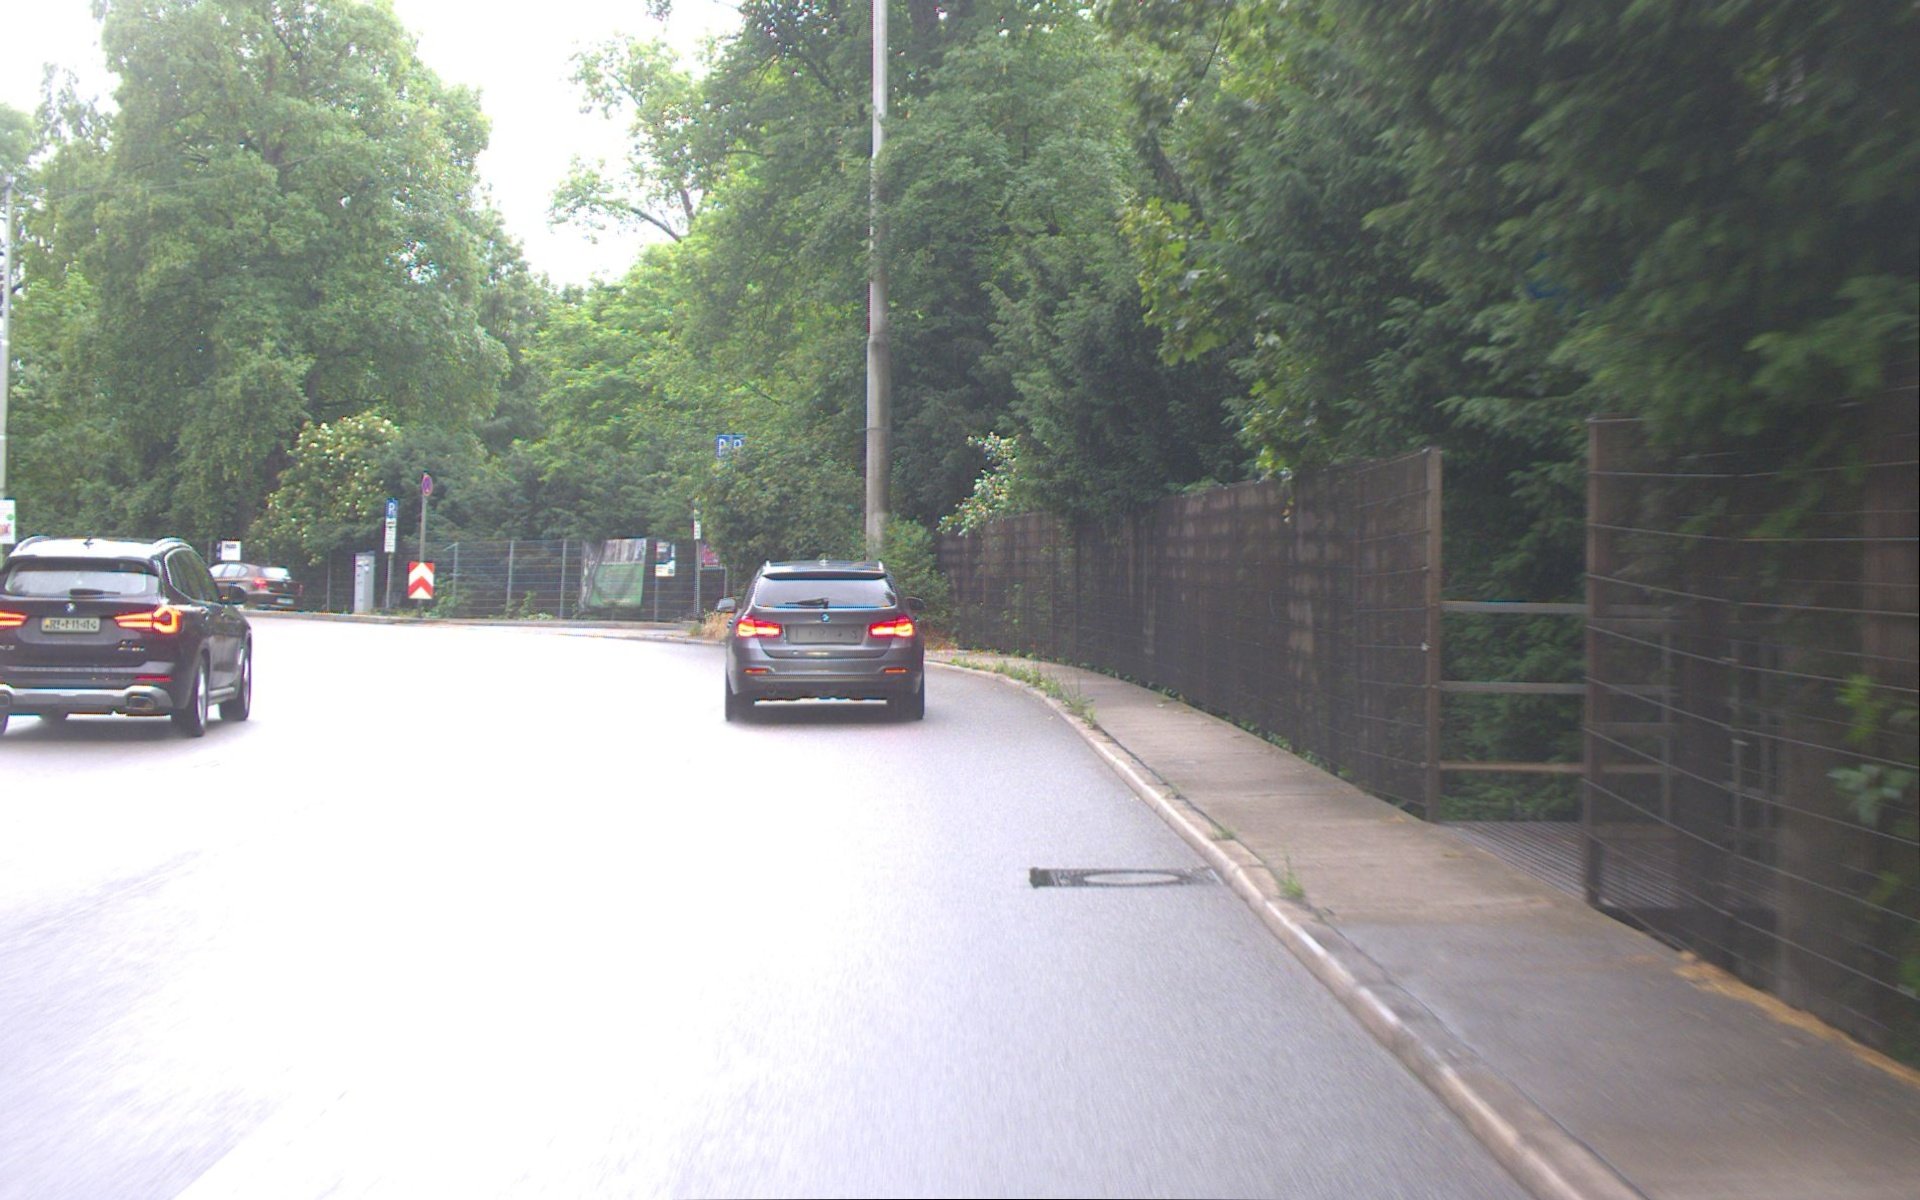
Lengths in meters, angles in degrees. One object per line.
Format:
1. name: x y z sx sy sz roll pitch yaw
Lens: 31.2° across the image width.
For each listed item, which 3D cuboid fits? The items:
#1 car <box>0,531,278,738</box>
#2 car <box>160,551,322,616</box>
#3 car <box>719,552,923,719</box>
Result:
1. car: -7.111 0.242 29.467 1.757 1.580 4.413 2 1 -2
2. car: -18.307 -0.432 87.436 4.367 1.422 1.688 2 -2 42
3. car: -1.294 0.282 32.292 1.757 1.427 4.413 1 1 -2
